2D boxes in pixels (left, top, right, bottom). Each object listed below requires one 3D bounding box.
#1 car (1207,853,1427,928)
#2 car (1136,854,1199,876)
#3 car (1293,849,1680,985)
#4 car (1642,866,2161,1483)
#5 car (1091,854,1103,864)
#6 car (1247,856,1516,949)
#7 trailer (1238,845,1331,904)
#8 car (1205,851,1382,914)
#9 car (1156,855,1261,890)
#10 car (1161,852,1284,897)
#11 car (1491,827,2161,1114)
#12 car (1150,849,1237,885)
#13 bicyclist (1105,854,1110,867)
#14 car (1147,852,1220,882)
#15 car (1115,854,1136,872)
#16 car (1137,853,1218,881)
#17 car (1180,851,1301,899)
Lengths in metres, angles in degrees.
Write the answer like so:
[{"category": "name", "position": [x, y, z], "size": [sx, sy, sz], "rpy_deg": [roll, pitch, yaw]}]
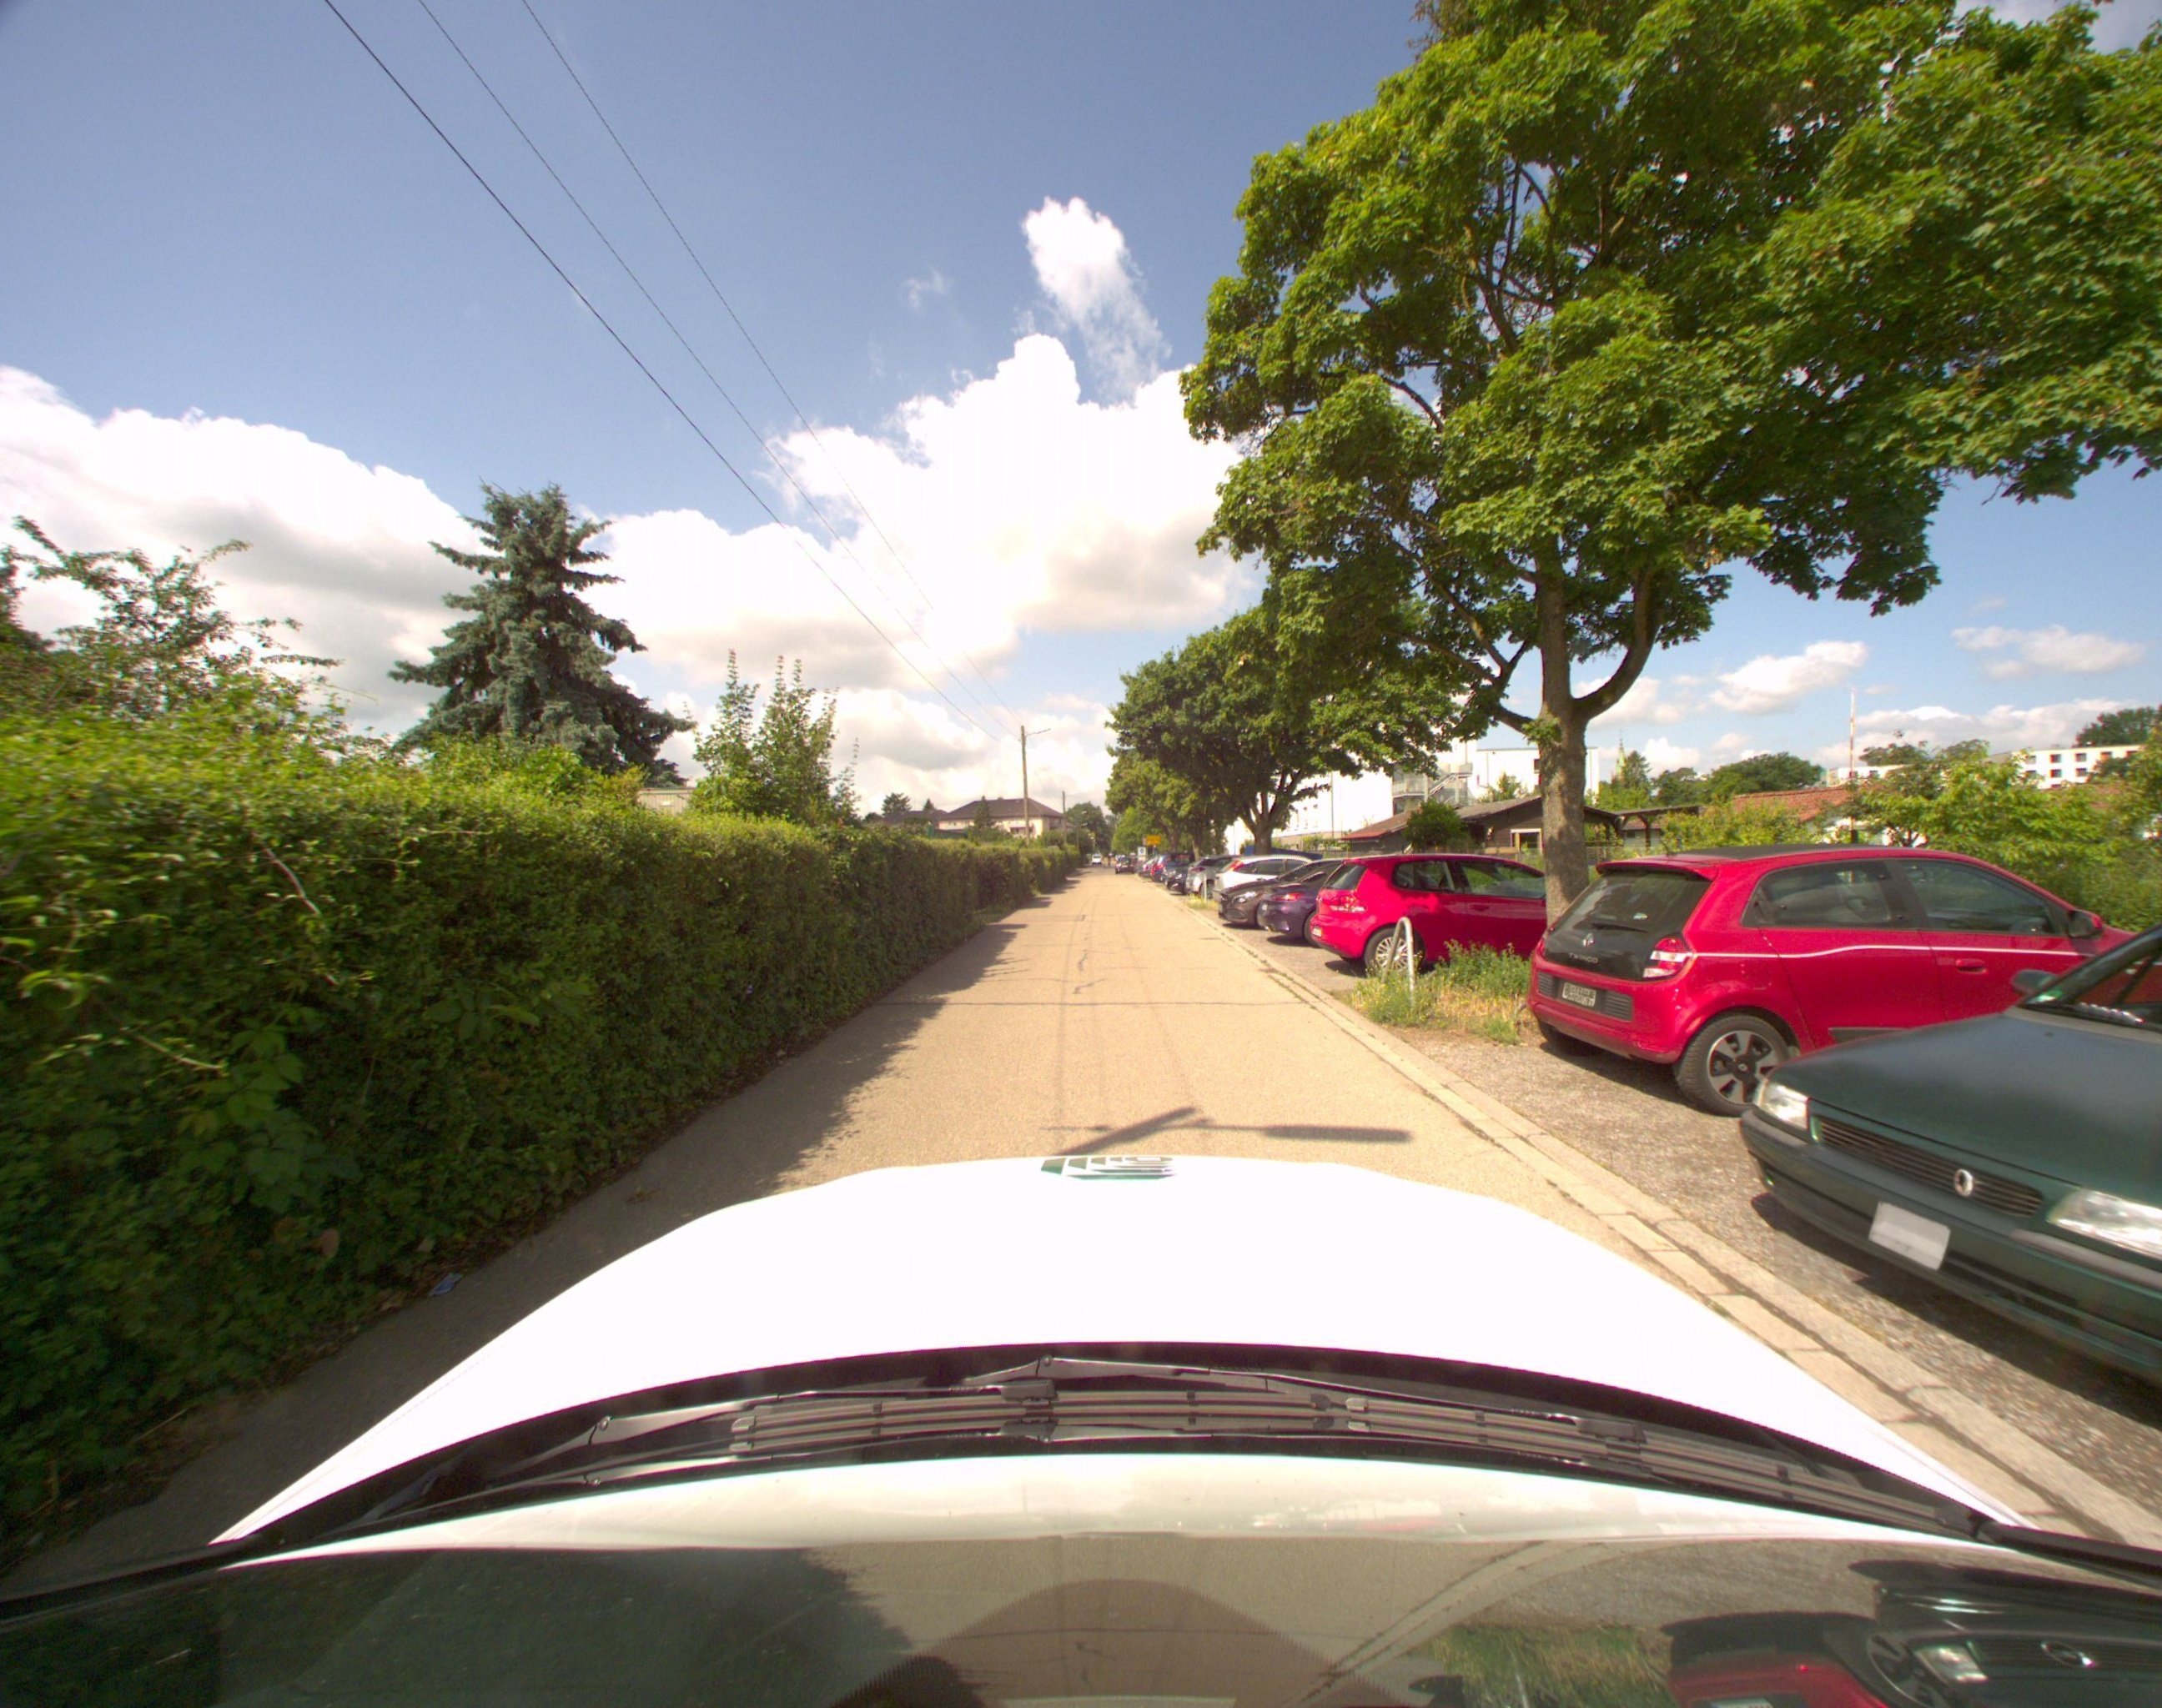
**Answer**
[{"category": "car", "position": [4.780, 0.726, 16.929], "size": [4.053, 1.455, 1.869], "rpy_deg": [0, -1, -1]}, {"category": "car", "position": [6.168, 0.760, 58.031], "size": [4.337, 1.392, 1.721], "rpy_deg": [-2, -1, 5]}, {"category": "car", "position": [4.839, 0.718, 10.242], "size": [3.968, 1.519, 1.857], "rpy_deg": [0, -1, 5]}, {"category": "car", "position": [4.603, 0.763, 2.717], "size": [4.228, 1.428, 1.906], "rpy_deg": [0, -1, -3]}, {"category": "car", "position": [2.775, 0.901, 140.822], "size": [1.894, 1.814, 4.004], "rpy_deg": [0, -1, 4]}, {"category": "car", "position": [4.890, 0.761, 13.757], "size": [3.892, 1.424, 1.960], "rpy_deg": [0, -1, 4]}, {"category": "trailer", "position": [6.130, 0.595, 24.710], "size": [2.444, 1.720, 1.517], "rpy_deg": [0, 0, -2]}, {"category": "car", "position": [5.245, 0.689, 20.529], "size": [4.046, 1.511, 1.960], "rpy_deg": [0, -1, 4]}, {"category": "car", "position": [5.535, 0.797, 35.764], "size": [4.320, 1.492, 1.976], "rpy_deg": [0, -1, 1]}, {"category": "car", "position": [5.168, 0.738, 30.200], "size": [4.287, 1.594, 2.000], "rpy_deg": [0, -1, 1]}, {"category": "car", "position": [5.070, 0.652, 5.435], "size": [3.751, 1.574, 1.870], "rpy_deg": [0, -1, 1]}, {"category": "car", "position": [5.601, 0.631, 40.846], "size": [4.139, 1.637, 1.879], "rpy_deg": [-2, -1, 1]}, {"category": "bicyclist", "position": [3.884, 0.917, 117.970], "size": [0.656, 1.852, 1.044], "rpy_deg": [-3, -1, 4]}, {"category": "car", "position": [5.636, 0.723, 45.032], "size": [3.795, 1.532, 1.762], "rpy_deg": [-2, -1, 1]}, {"category": "car", "position": [3.981, 0.805, 72.221], "size": [1.655, 1.506, 4.007], "rpy_deg": [0, -1, 6]}, {"category": "car", "position": [5.564, 0.753, 47.444], "size": [4.534, 1.578, 1.808], "rpy_deg": [0, -1, 0]}, {"category": "car", "position": [5.343, 0.702, 27.613], "size": [3.713, 1.540, 1.848], "rpy_deg": [0, -1, -2]}]
